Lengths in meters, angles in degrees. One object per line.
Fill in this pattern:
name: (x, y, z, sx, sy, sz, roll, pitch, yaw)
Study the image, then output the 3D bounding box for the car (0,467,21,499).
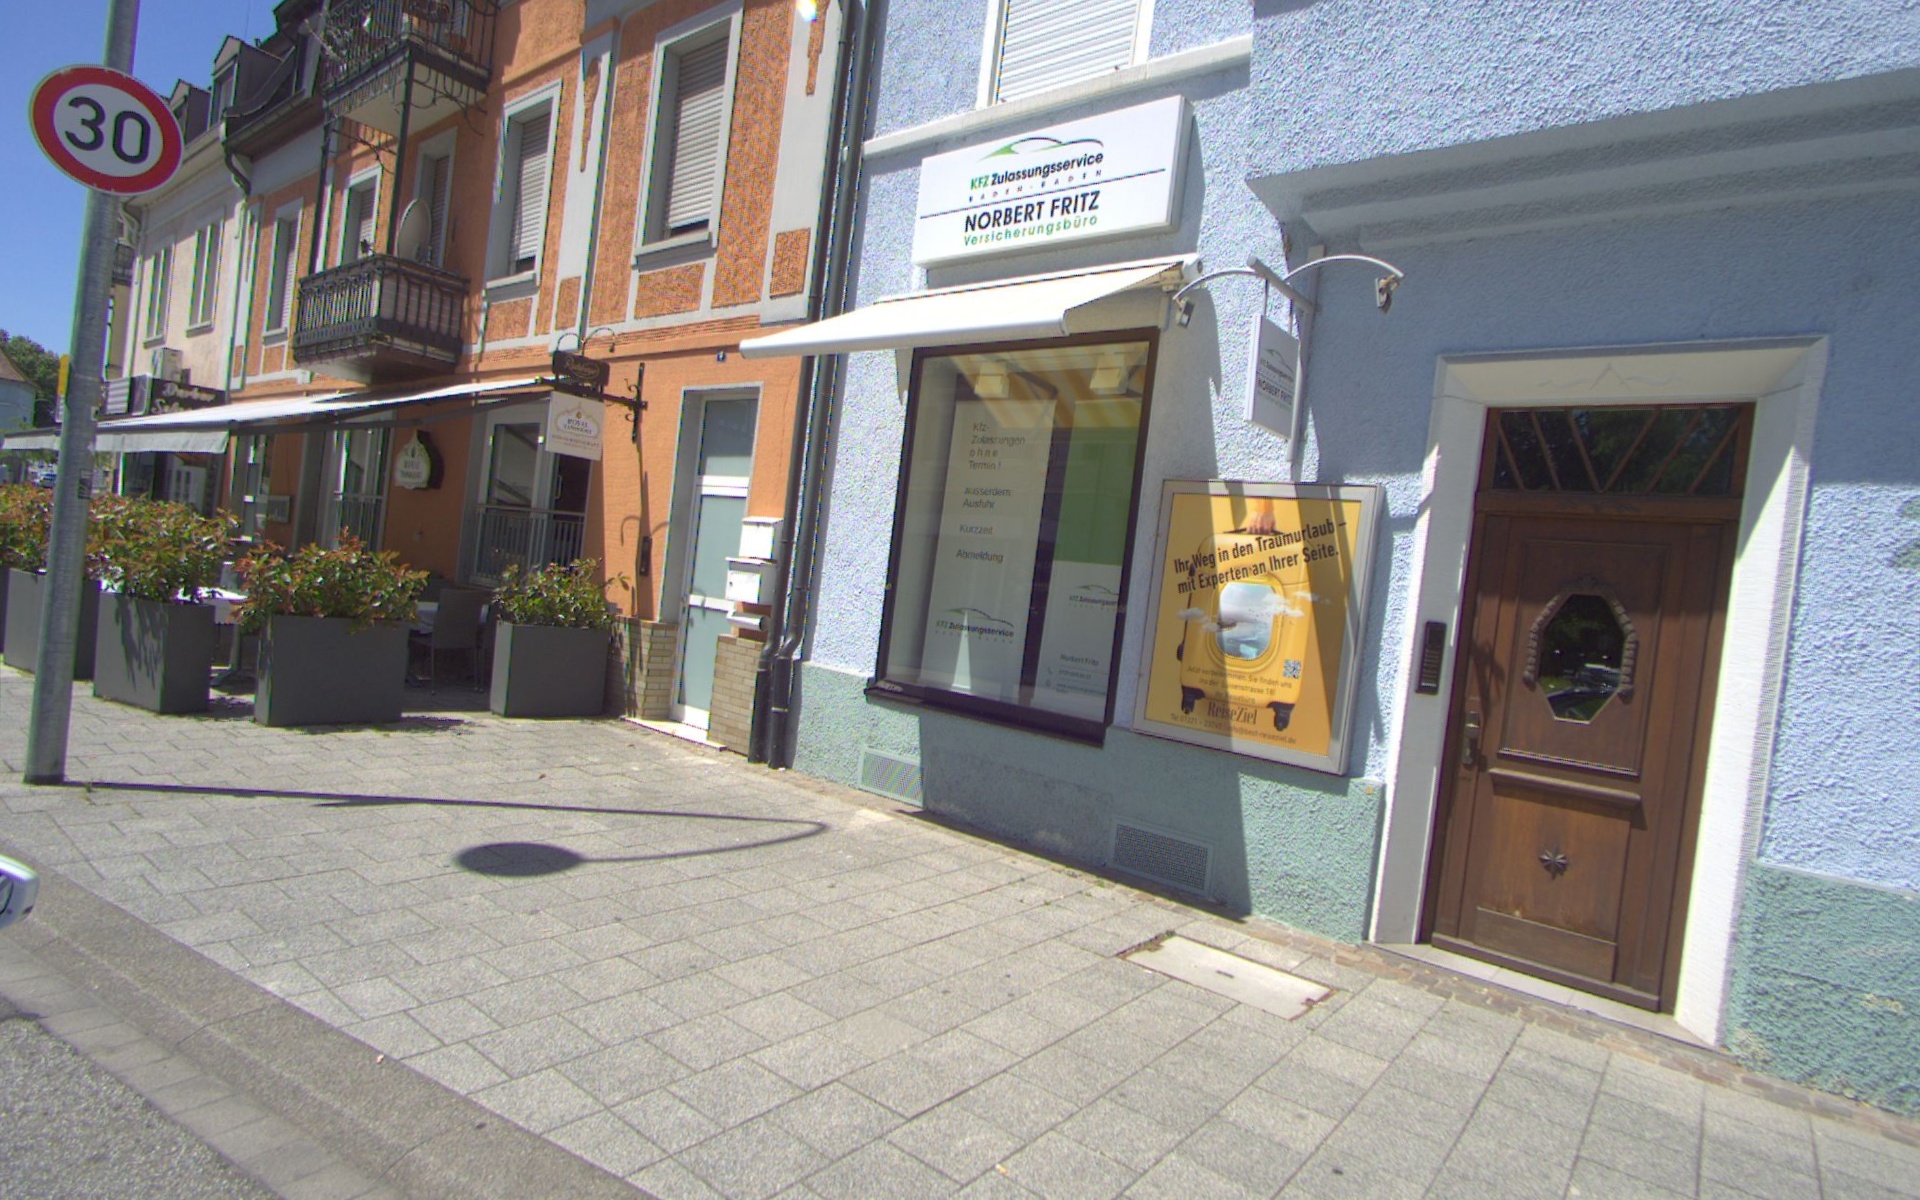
car: (-85.305, -10.518, 86.759, 5.596, 2.610, 2.497, 8, 0, -28)
